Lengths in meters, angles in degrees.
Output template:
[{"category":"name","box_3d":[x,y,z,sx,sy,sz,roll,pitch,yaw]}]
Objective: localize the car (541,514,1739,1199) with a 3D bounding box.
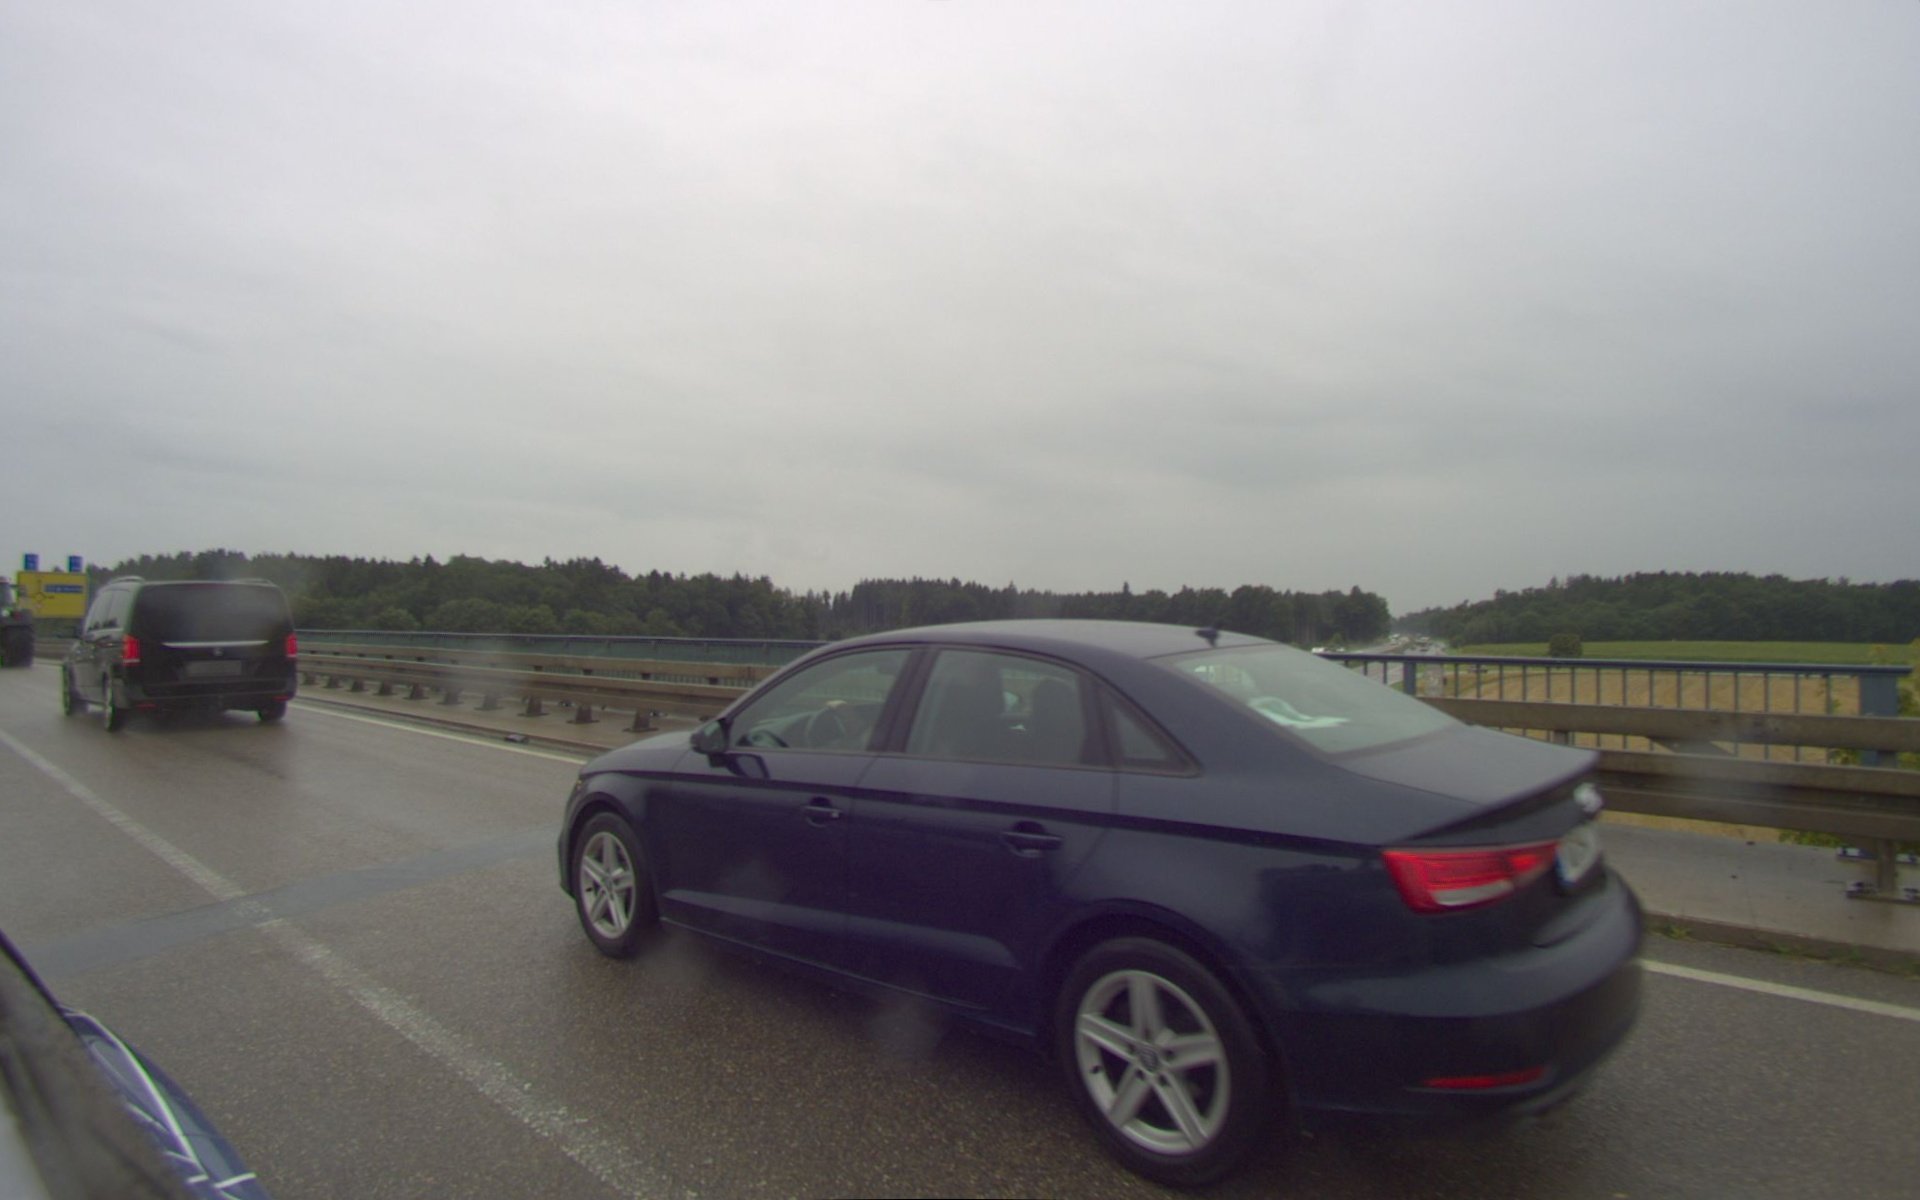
[{"category":"car","box_3d":[0.296,0.669,3.794,4.066,1.549,1.820,-1,-2,41]}]

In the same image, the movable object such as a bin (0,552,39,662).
[{"category":"movable object such as a bin","box_3d":[-32.490,0.279,33.145,4.638,3.472,2.721,-2,-3,39]}]

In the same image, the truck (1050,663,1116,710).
[{"category":"truck","box_3d":[12.351,8.516,101.010,2.234,3.727,9.739,-2,0,34]}]

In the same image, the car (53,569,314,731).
[{"category":"car","box_3d":[-10.872,0.631,14.017,4.931,1.851,2.043,-1,-2,43]}]
